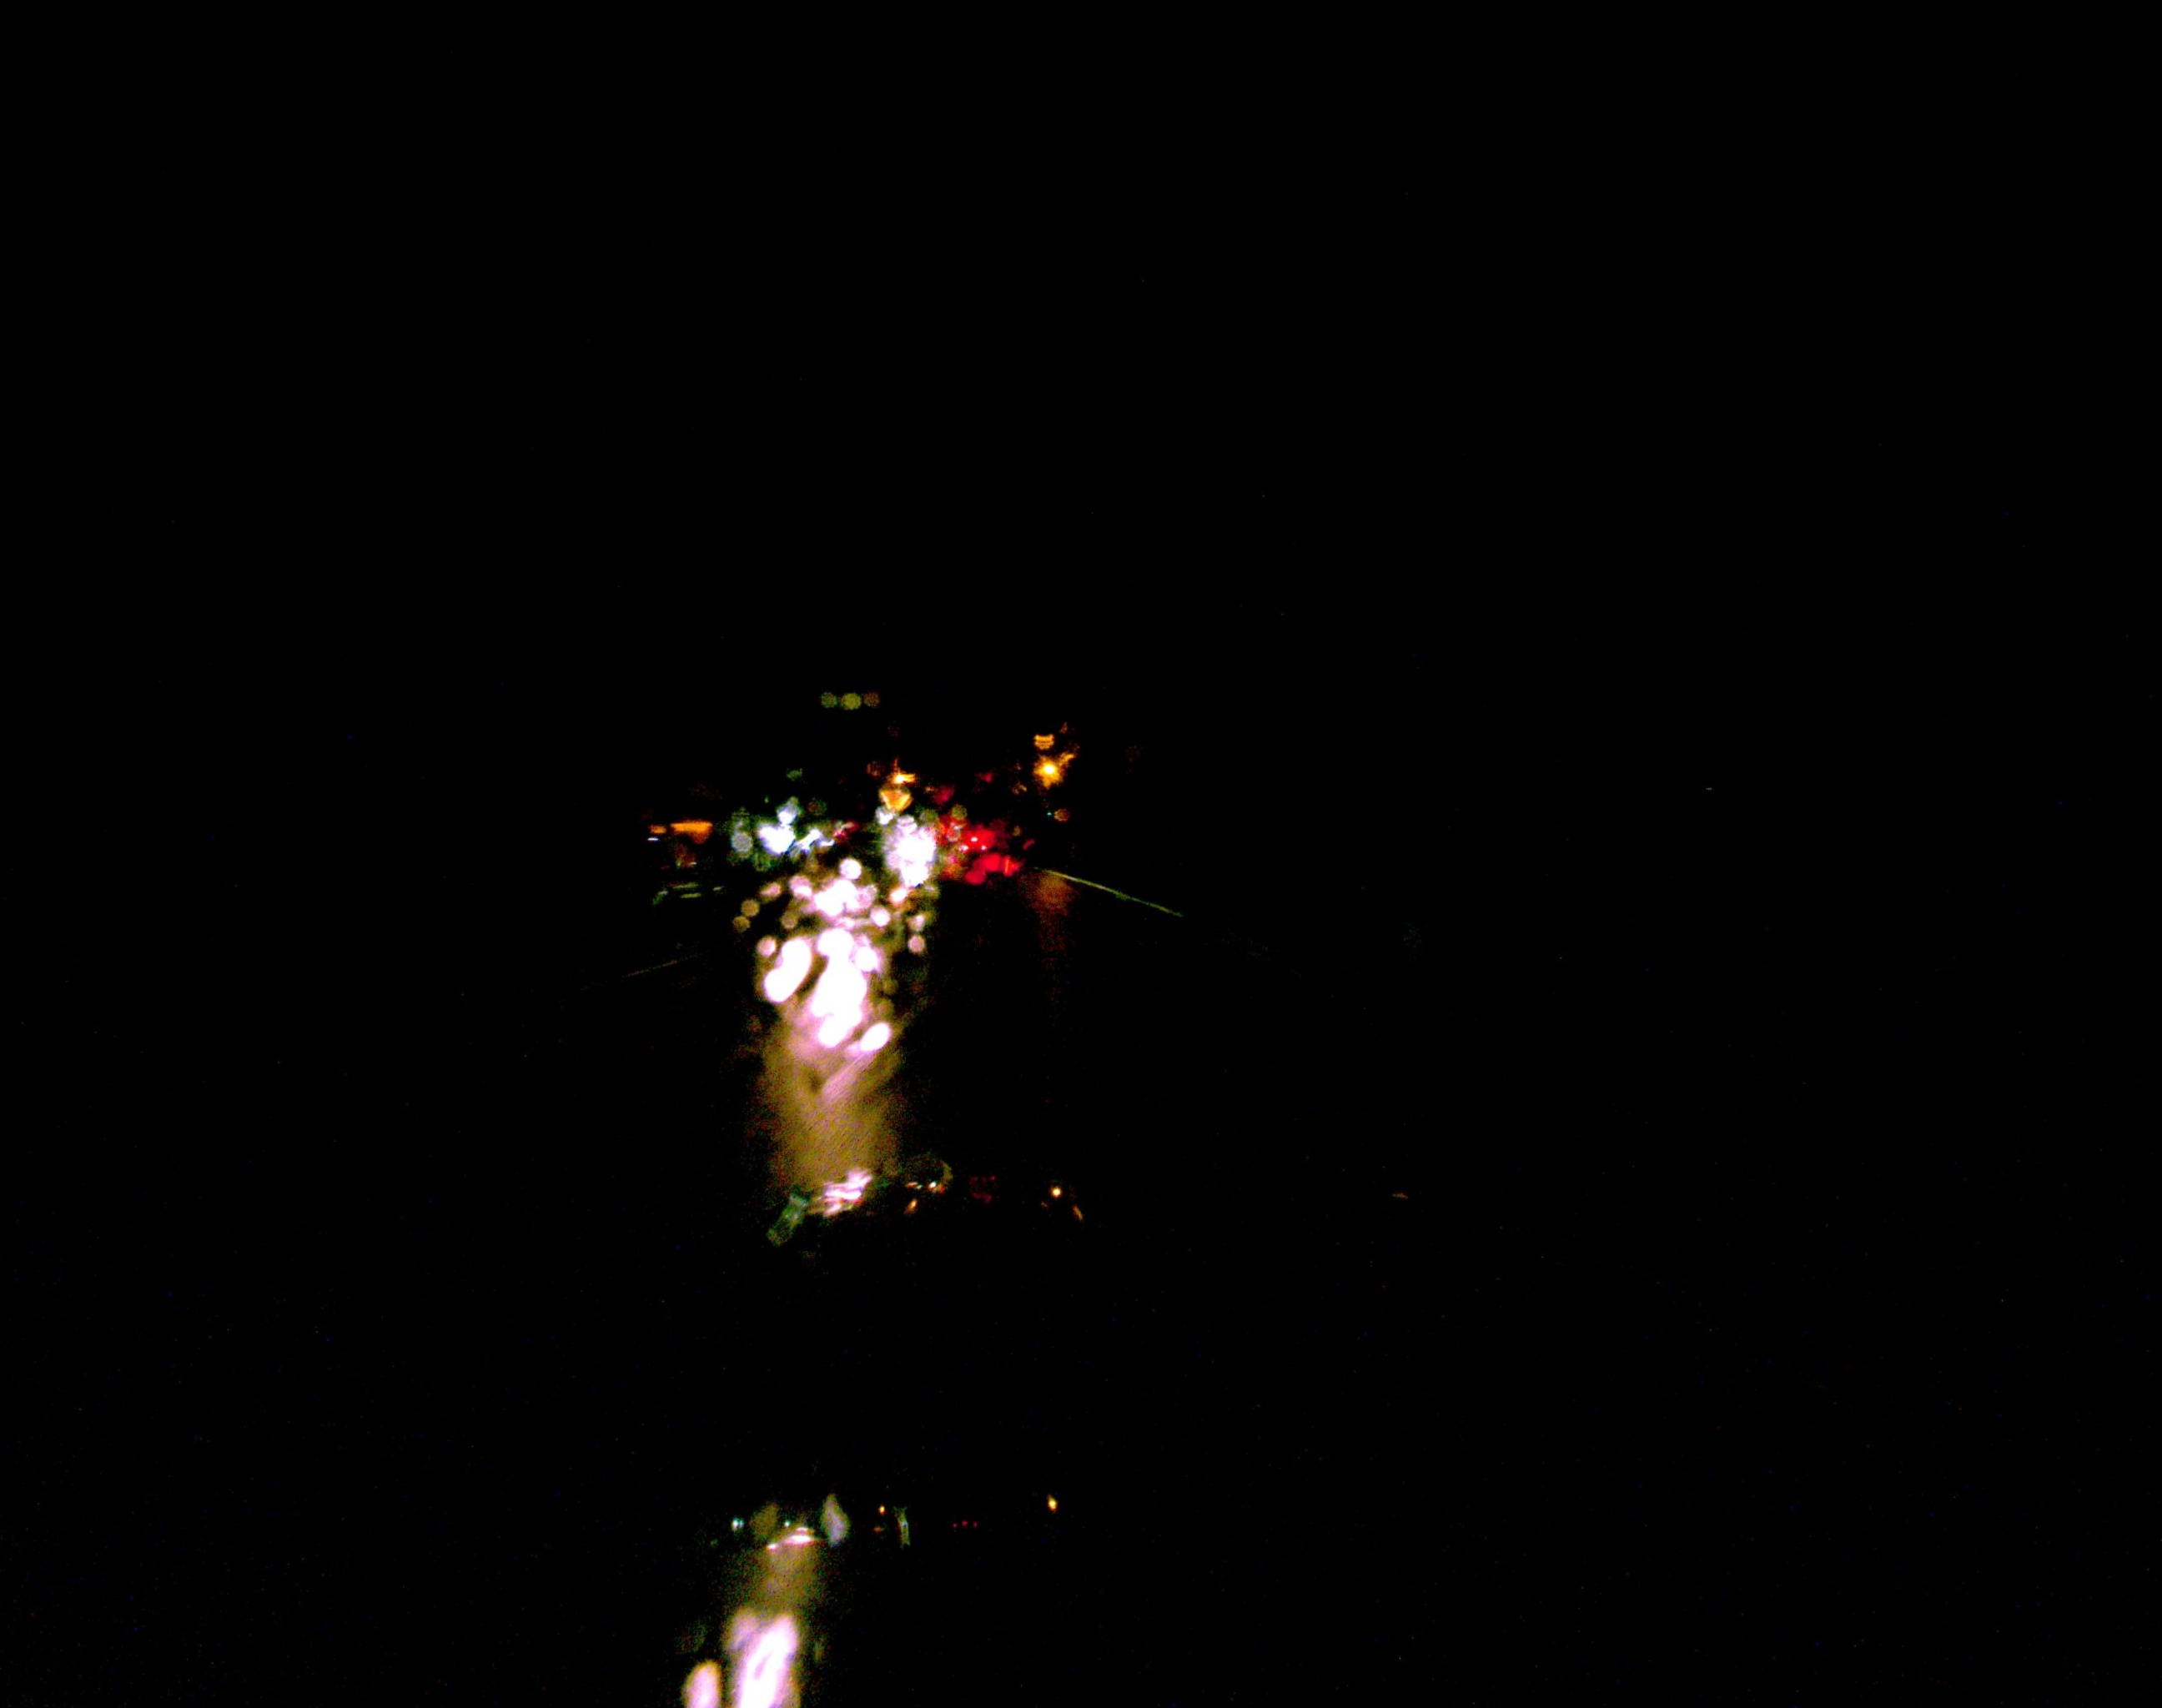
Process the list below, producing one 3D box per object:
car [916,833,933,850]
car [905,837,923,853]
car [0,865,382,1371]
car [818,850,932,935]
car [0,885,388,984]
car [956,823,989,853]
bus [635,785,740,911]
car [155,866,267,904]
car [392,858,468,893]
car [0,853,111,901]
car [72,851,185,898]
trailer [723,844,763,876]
[{"bbox_3d":[-19.258,-1.522,100.207,1.995,2.014,3.982,0,-1,-13],"label":"car"},{"bbox_3d":[-16.939,-0.914,82.548,1.637,1.510,4.100,-3,1,-12],"label":"car"},{"bbox_3d":[-4.070,0.803,1.786,1.706,1.476,3.869,0,0,0],"label":"car"},{"bbox_3d":[-4.372,0.737,17.827,1.692,1.599,3.797,-1,1,-3],"label":"car"},{"bbox_3d":[-15.860,1.307,14.788,1.830,1.376,4.754,0,-1,14],"label":"car"},{"bbox_3d":[-9.692,-1.498,72.585,2.540,2.497,5.694,-2,3,-11],"label":"car"},{"bbox_3d":[-15.225,-0.227,31.278,2.909,3.868,12.944,-1,1,-27],"label":"bus"},{"bbox_3d":[-41.451,1.448,38.965,1.945,1.697,4.591,0,-1,-24],"label":"car"},{"bbox_3d":[-33.458,1.066,42.005,1.945,1.697,4.591,0,-1,-24],"label":"car"},{"bbox_3d":[-46.705,1.013,37.084,1.768,2.056,3.965,1,-1,-26],"label":"car"},{"bbox_3d":[-44.519,0.943,38.193,2.004,2.056,3.965,1,-1,-26],"label":"car"},{"bbox_3d":[-20.439,0.326,49.327,1.818,1.677,4.076,-4,3,-18],"label":"trailer"}]
